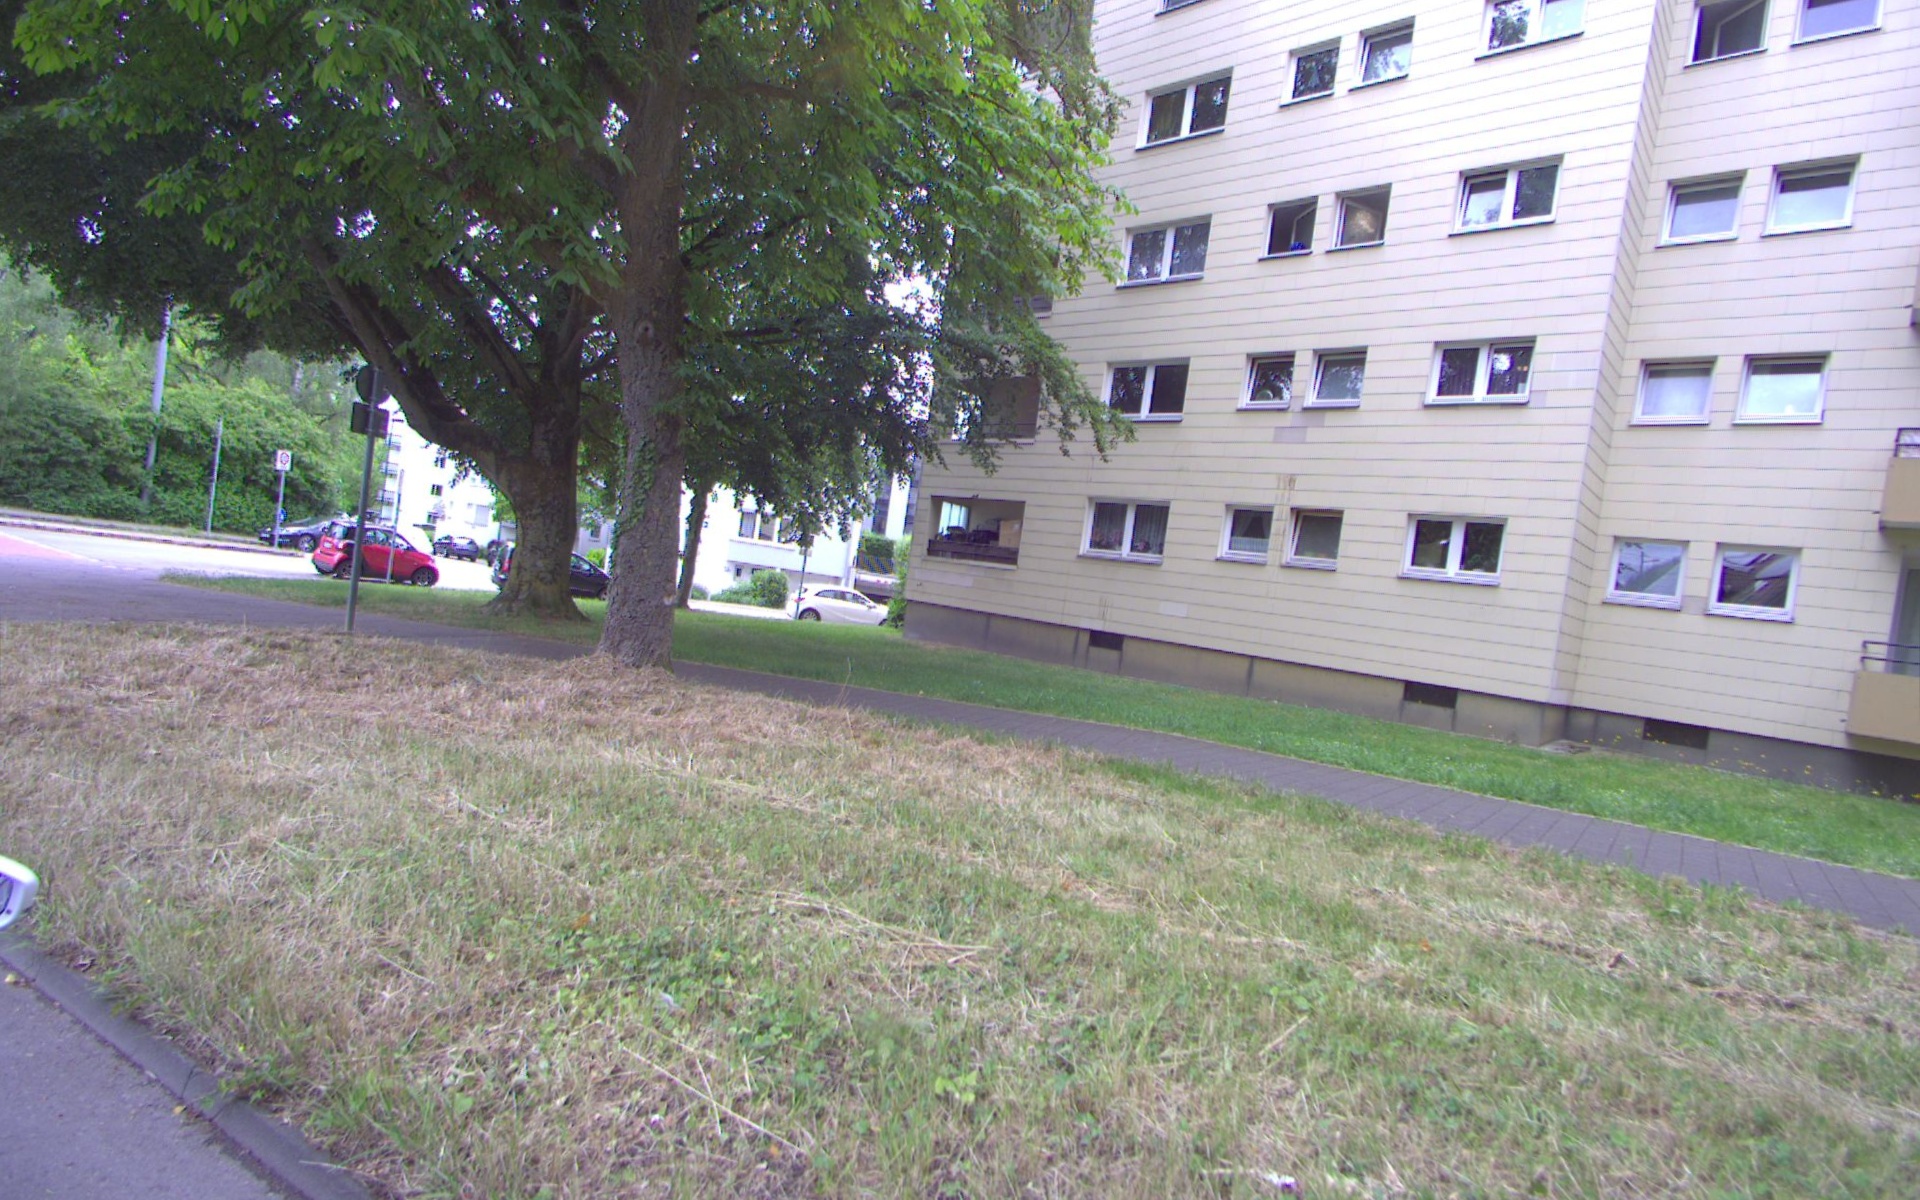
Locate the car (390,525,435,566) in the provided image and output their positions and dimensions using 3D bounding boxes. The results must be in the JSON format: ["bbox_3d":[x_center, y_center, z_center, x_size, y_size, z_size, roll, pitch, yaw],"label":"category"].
[{"bbox_3d":[-25.986,-2.597,47.683,1.709,1.631,3.823,6,1,-30],"label":"car"}]

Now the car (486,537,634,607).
[{"bbox_3d":[-12.100,-0.833,30.476,3.814,1.631,1.713,6,1,-33],"label":"car"}]

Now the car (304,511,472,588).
[{"bbox_3d":[-15.562,-1.351,27.488,1.701,1.631,3.516,8,1,37],"label":"car"}]

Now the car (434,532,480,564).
[{"bbox_3d":[-31.275,-3.242,62.503,1.713,1.631,3.812,6,2,-38],"label":"car"}]

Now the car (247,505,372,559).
[{"bbox_3d":[-24.476,-2.544,37.937,1.702,1.550,3.515,8,1,38],"label":"car"}]

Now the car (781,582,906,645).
[{"bbox_3d":[-3.937,0.445,33.895,3.796,1.631,1.721,7,1,-18],"label":"car"}]

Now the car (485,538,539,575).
[{"bbox_3d":[-24.319,-2.371,54.577,1.713,1.631,3.812,6,2,-38],"label":"car"}]
